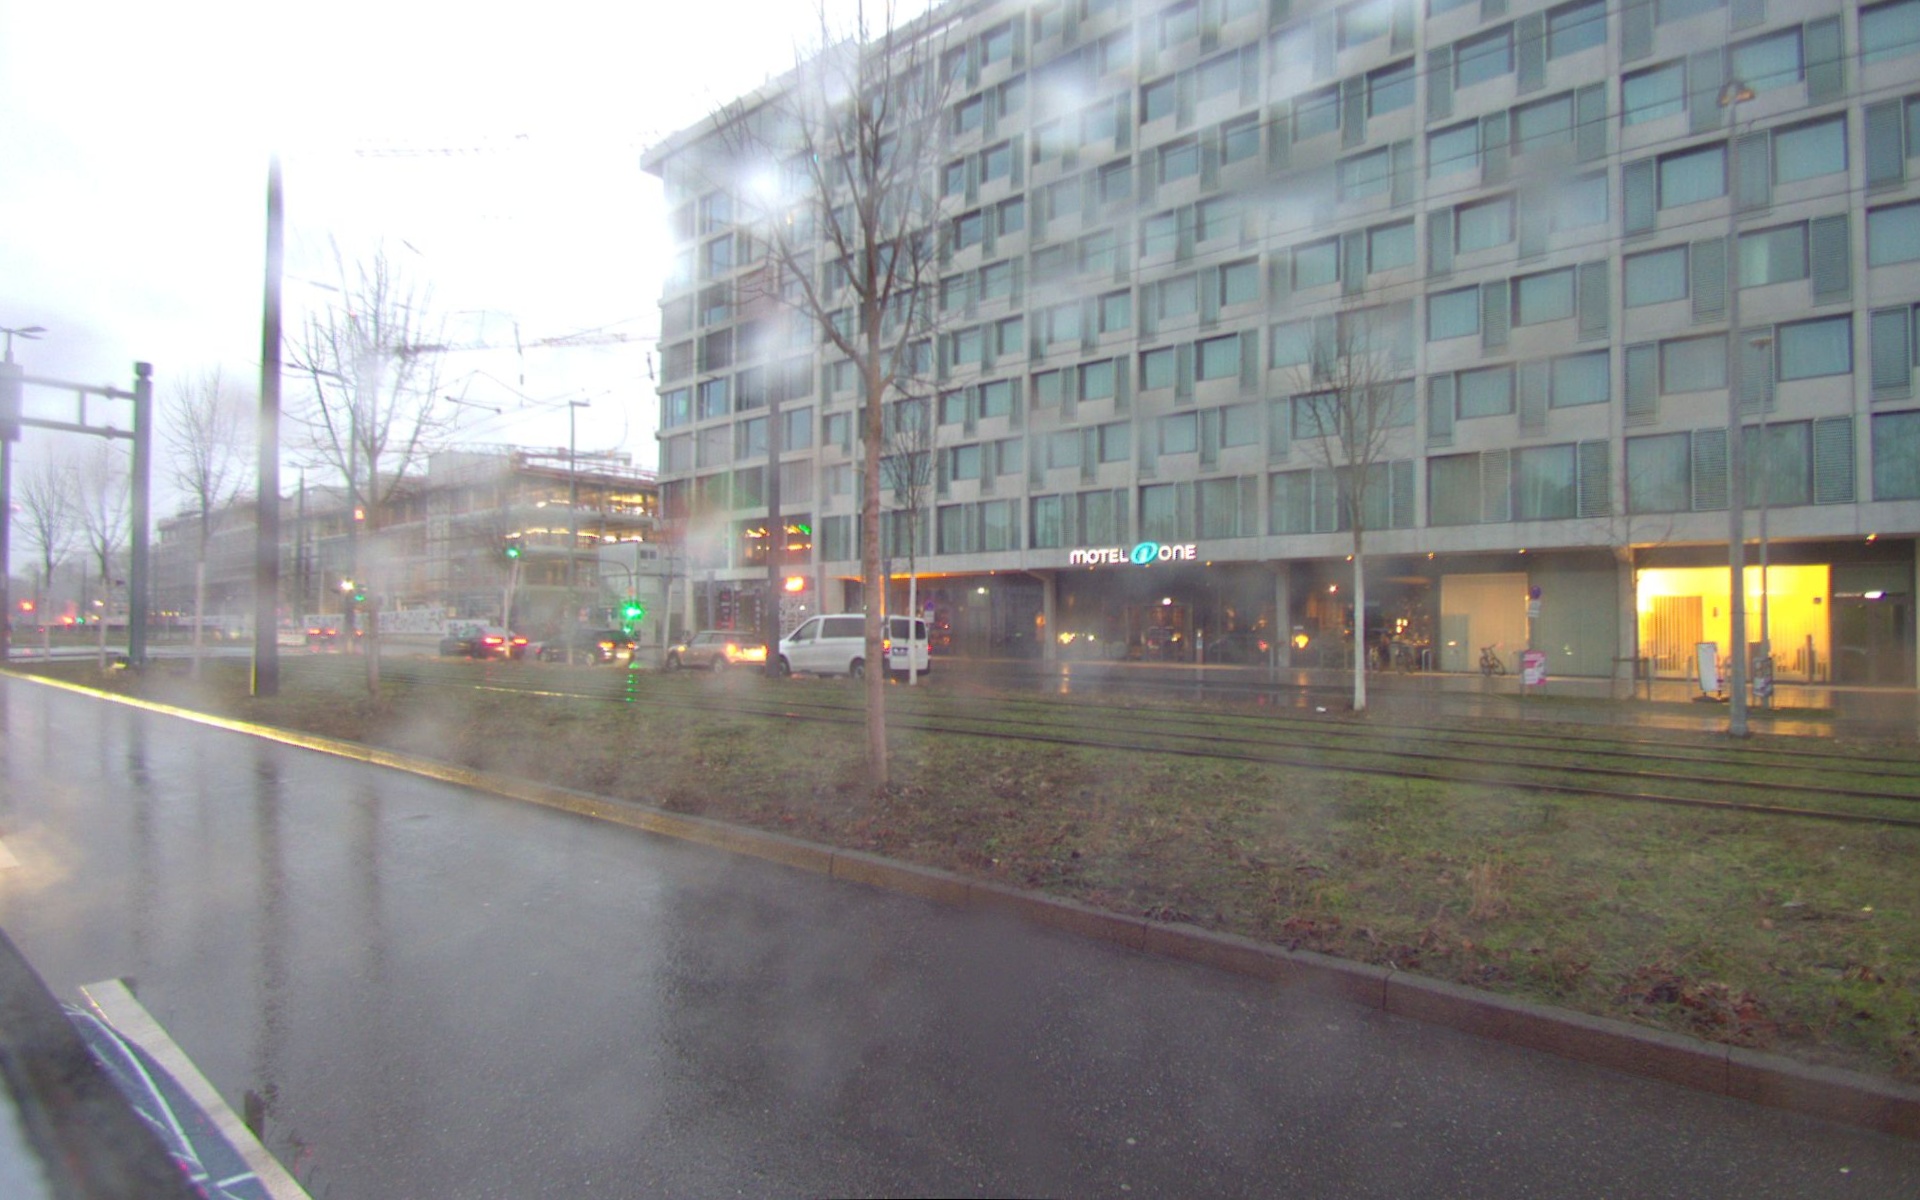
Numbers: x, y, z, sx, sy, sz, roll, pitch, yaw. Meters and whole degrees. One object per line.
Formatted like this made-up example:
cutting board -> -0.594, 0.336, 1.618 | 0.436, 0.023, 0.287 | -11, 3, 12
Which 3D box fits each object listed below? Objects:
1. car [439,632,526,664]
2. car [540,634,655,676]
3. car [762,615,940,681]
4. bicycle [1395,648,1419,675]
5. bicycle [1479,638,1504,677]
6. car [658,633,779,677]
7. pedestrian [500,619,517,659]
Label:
car -> -20.243, 2.001, 42.854 | 3.997, 1.284, 1.793 | -1, -3, 40
car -> -13.315, 1.970, 37.090 | 4.254, 1.411, 2.084 | -1, -3, 40
car -> -3.085, 1.288, 27.949 | 5.041, 1.682, 2.060 | -1, -3, 41
bicycle -> 15.811, 2.179, 35.789 | 0.465, 0.860, 1.332 | -1, 0, 39
bicycle -> 18.100, 1.942, 34.438 | 0.465, 1.247, 1.520 | -1, 0, 39
car -> -7.775, 1.732, 32.436 | 3.998, 1.317, 1.793 | -1, -3, 41
pedestrian -> -20.735, 1.783, 46.464 | 0.698, 1.818, 0.772 | -1, 0, -24
